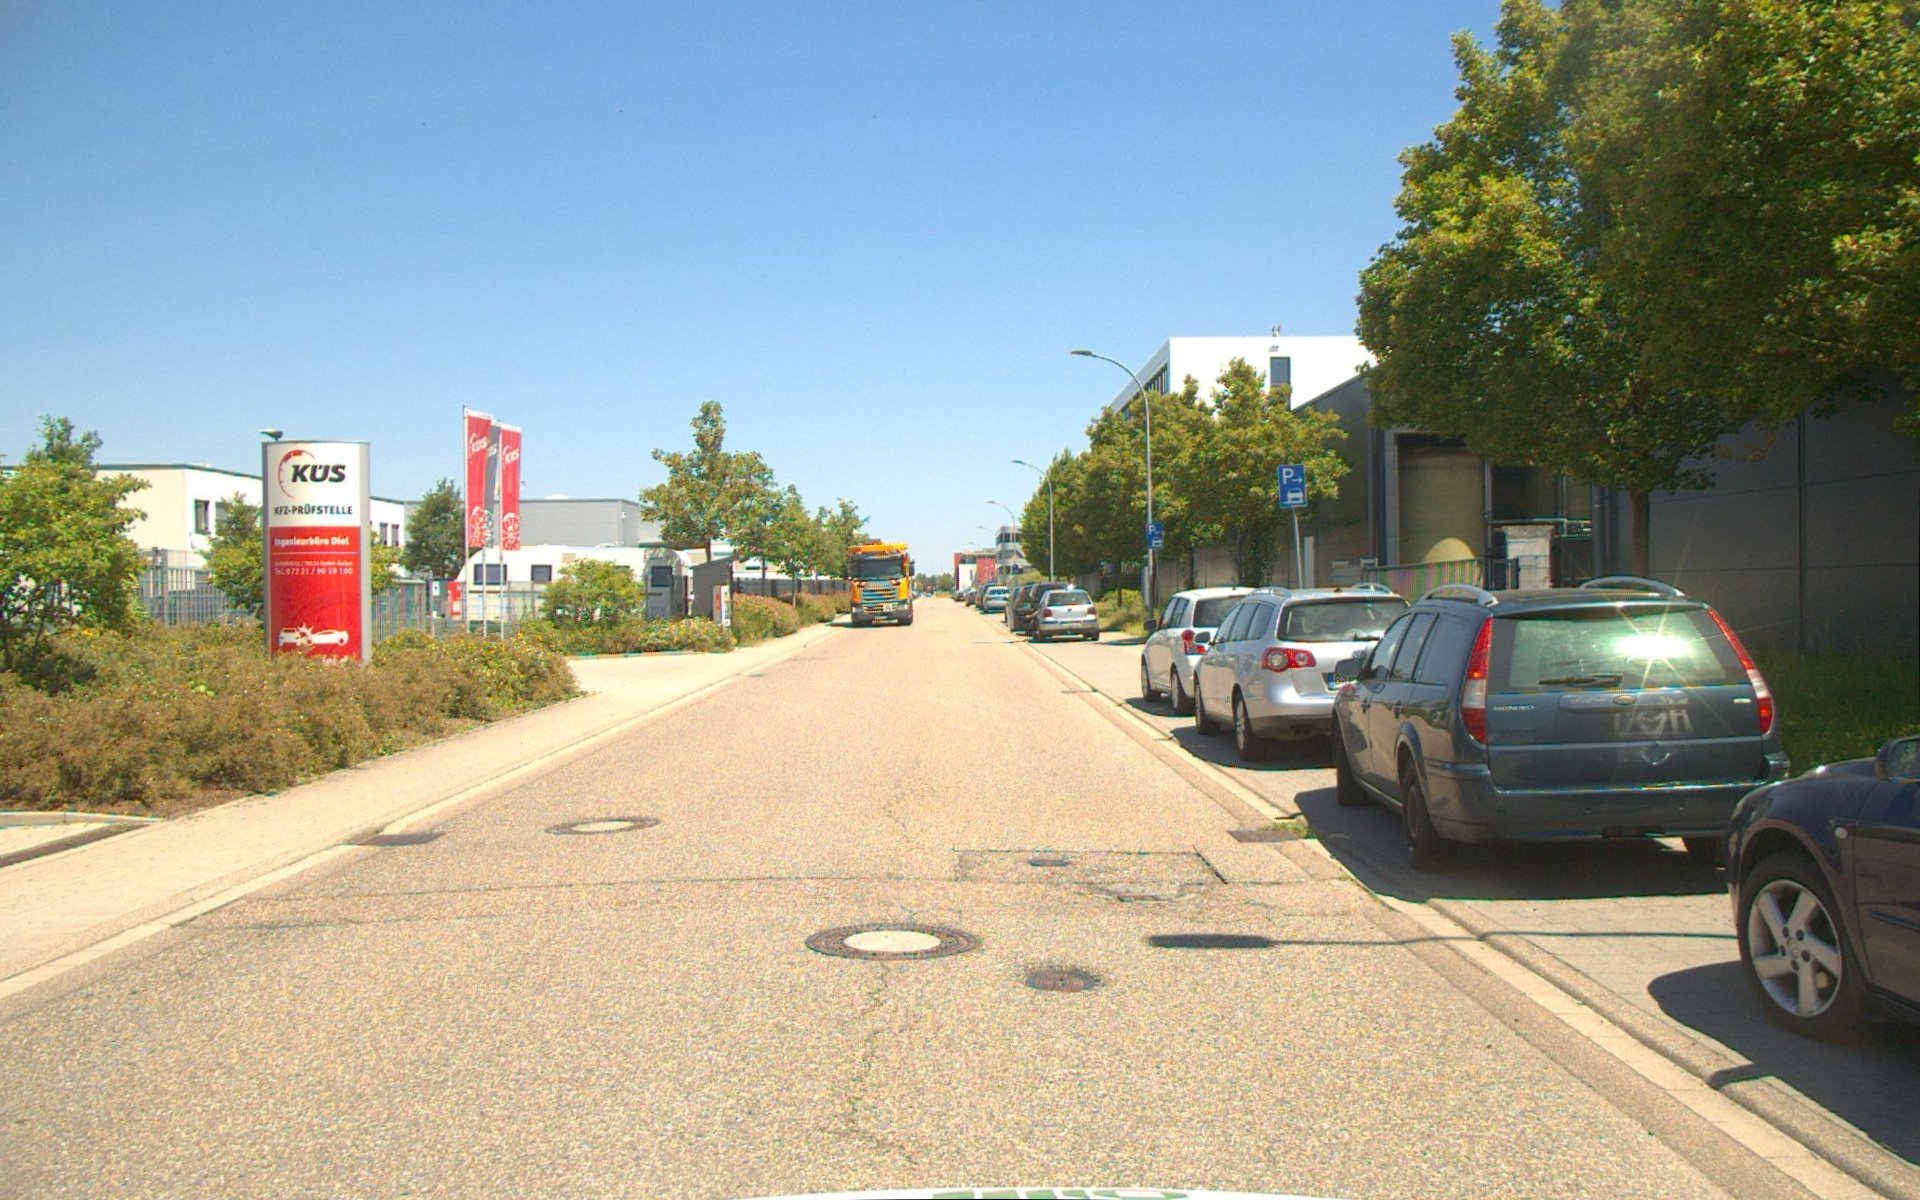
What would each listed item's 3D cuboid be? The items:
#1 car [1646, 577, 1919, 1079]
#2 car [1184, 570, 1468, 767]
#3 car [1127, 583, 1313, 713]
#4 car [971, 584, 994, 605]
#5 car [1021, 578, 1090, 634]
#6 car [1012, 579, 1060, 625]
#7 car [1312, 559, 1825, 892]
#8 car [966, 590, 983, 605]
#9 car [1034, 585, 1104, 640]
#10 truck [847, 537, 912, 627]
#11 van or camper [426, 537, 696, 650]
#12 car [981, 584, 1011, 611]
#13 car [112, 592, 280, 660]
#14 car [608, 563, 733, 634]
[{"bbox_3d":[3.680,0.636,4.252,1.813,1.456,4.711,-1,0,-1],"label":"car"},{"bbox_3d":[3.345,0.573,16.000,1.712,1.589,4.505,-2,0,0],"label":"car"},{"bbox_3d":[3.296,0.557,21.620,1.603,1.494,3.743,-2,0,-4],"label":"car"},{"bbox_3d":[1.578,-0.365,117.227,1.465,1.434,3.499,-1,0,-1],"label":"car"},{"bbox_3d":[3.036,0.175,53.166,1.645,1.716,3.996,-1,0,-5],"label":"car"},{"bbox_3d":[2.940,0.064,64.818,1.686,1.724,3.984,-1,0,0],"label":"car"},{"bbox_3d":[3.345,0.604,10.114,1.673,1.531,4.708,-1,0,4],"label":"car"},{"bbox_3d":[1.373,-0.231,158.370,1.465,1.434,3.499,-1,0,-1],"label":"car"},{"bbox_3d":[3.063,0.337,47.047,1.683,1.475,3.645,-2,0,-1],"label":"car"},{"bbox_3d":[-3.363,-0.764,70.892,2.399,3.574,8.271,-2,1,-1],"label":"truck"},{"bbox_3d":[-11.628,-0.187,48.685,7.235,3.090,2.789,-1,0,-2],"label":"van or camper"},{"bbox_3d":[2.028,-0.148,94.024,1.553,1.434,3.499,-1,0,-1],"label":"car"},{"bbox_3d":[-21.973,0.735,47.681,3.906,1.847,1.916,-1,0,-2],"label":"car"},{"bbox_3d":[-11.325,-0.056,65.002,4.623,2.631,1.998,-1,0,-5],"label":"car"}]
